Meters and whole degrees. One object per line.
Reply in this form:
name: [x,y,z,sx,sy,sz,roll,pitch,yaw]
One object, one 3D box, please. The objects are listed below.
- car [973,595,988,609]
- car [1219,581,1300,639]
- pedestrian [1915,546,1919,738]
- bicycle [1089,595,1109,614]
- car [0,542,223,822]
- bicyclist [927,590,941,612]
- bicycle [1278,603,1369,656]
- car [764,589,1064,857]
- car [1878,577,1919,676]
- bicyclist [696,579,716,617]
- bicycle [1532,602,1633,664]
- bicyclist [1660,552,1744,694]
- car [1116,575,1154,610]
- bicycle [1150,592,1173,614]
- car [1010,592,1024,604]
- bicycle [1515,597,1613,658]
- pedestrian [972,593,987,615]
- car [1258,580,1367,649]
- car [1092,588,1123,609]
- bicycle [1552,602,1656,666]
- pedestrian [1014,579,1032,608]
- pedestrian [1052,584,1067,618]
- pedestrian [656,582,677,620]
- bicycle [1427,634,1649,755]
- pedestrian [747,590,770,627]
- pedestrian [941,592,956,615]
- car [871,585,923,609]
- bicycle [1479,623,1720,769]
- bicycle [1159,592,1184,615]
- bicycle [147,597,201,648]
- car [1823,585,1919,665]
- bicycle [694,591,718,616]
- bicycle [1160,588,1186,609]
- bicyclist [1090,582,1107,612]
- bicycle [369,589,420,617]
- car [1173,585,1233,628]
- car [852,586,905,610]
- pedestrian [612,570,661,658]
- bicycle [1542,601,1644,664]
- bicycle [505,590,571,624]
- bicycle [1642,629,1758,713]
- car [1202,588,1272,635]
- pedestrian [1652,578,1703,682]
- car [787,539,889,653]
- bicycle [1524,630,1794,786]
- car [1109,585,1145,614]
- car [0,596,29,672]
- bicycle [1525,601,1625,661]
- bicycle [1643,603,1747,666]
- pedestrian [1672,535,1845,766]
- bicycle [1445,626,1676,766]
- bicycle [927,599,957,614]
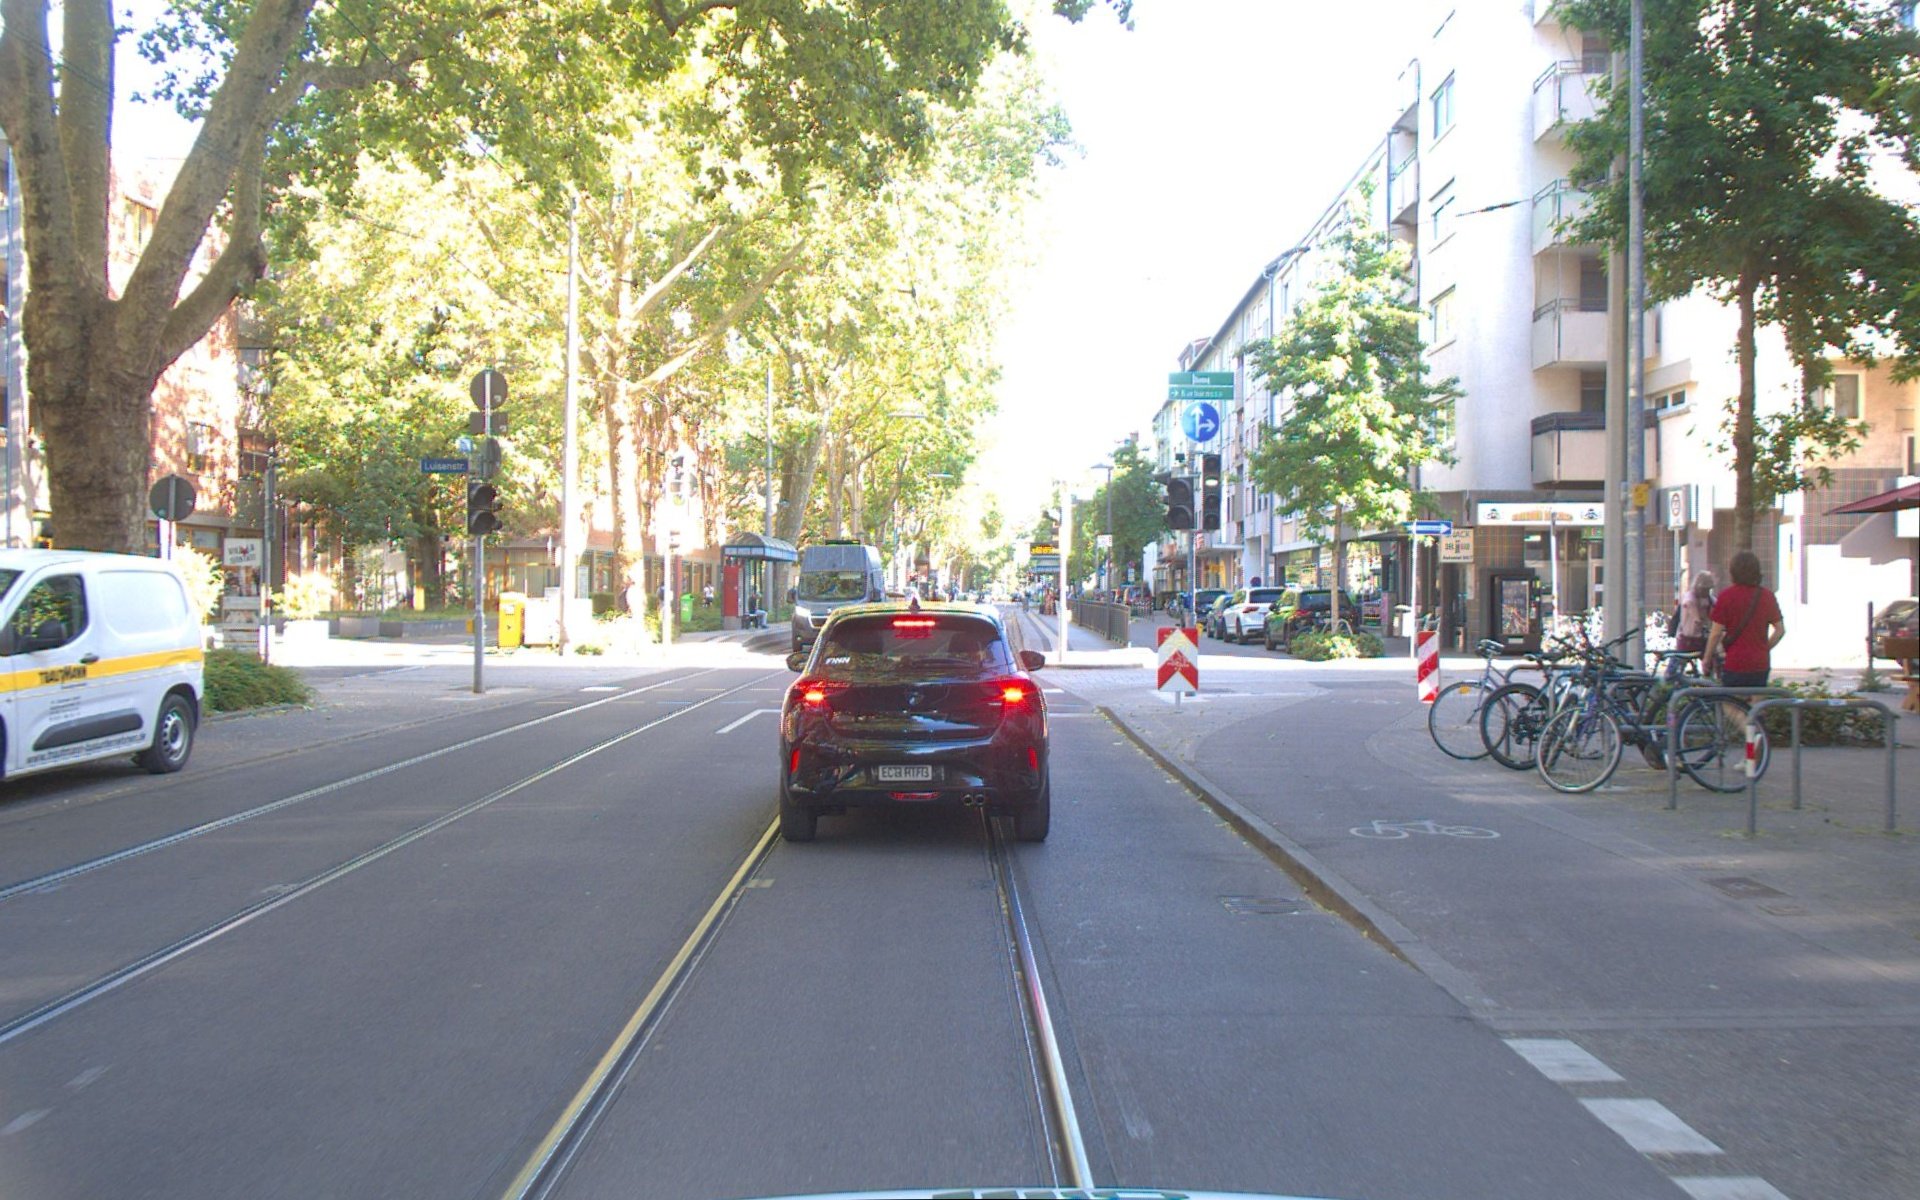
car: [2.495,0.252,203.267,1.709,1.571,4.000,1,0,0]
car: [8.978,0.289,49.869,1.762,1.634,4.416,1,0,2]
pedestrian: [9.391,0.399,15.254,0.578,1.815,0.995,1,0,0]
bicycle: [8.543,0.278,101.574,0.844,1.156,2.394,1,0,-5]
car: [-7.296,0.539,12.243,1.727,1.883,4.318,1,0,0]
bicyclist: [-2.143,0.066,136.637,1.141,1.779,0.957,1,0,-4]
bicycle: [8.677,0.689,39.509,2.081,1.208,0.681,1,0,10]
car: [-0.277,0.715,11.355,1.724,1.534,3.682,0,0,-1]
car: [17.867,0.477,27.523,4.165,1.620,1.965,1,-1,-5]
bicyclist: [-12.040,-0.099,78.460,0.759,1.780,0.997,1,0,-1]
bicycle: [12.671,0.666,33.691,1.875,1.229,0.511,0,0,-2]
bicyclist: [9.381,0.284,20.936,0.663,1.747,0.965,1,0,4]
car: [10.576,-0.433,100.109,1.952,1.986,4.000,1,0,1]
bicycle: [10.816,0.144,88.885,0.591,1.156,2.429,1,0,-9]
car: [7.552,-0.259,220.462,1.709,1.571,4.000,1,0,0]
bicycle: [12.713,0.572,34.817,1.875,1.229,0.511,1,-1,-2]
pedestrian: [1.543,0.323,133.228,1.141,1.779,0.957,1,0,-4]
car: [8.988,0.355,42.500,1.952,1.644,4.446,-1,0,2]
car: [10.610,-0.095,119.109,1.952,1.512,4.001,1,0,2]
bicycle: [12.693,0.673,32.624,1.875,1.228,0.511,0,1,-2]
pedestrian: [3.758,-0.387,98.835,0.737,1.739,0.760,1,-1,36]
pedestrian: [4.797,0.036,79.908,0.618,1.603,0.871,2,0,2]
pedestrian: [-13.334,0.040,75.120,0.720,1.701,0.861,1,0,2]
bicycle: [5.085,0.828,14.594,1.778,1.011,0.481,1,-1,-1]
pedestrian: [-6.575,0.267,54.023,0.691,1.189,0.659,-1,0,-2]
pedestrian: [-0.924,0.273,133.055,1.141,1.779,0.957,1,0,-4]
car: [-5.401,-0.248,141.899,4.300,1.884,1.998,1,0,-6]
bicycle: [5.125,0.764,13.271,1.780,1.119,0.480,1,-1,-7]
bicycle: [11.017,0.176,86.271,0.610,1.156,2.434,1,0,-9]
bicycle: [-18.455,0.511,38.860,0.530,1.103,1.537,1,2,0]
car: [19.944,0.477,32.962,4.489,1.503,1.872,0,2,2]
bicycle: [-12.054,0.163,78.522,0.766,1.130,2.595,1,0,-1]
bicycle: [11.771,-0.065,91.659,0.600,1.156,2.915,1,0,-9]
bicyclist: [8.521,-0.176,101.910,0.844,1.790,1.052,1,0,-5]
bicycle: [-23.245,0.133,67.990,1.907,1.092,0.762,1,0,-15]
car: [9.619,0.259,65.720,1.818,1.644,4.398,1,0,2]
car: [-6.451,-0.158,130.325,4.034,1.730,1.881,1,0,-6]
pedestrian: [-7.100,0.304,36.310,0.905,1.867,0.920,1,2,-2]
bicycle: [12.680,0.654,33.156,1.875,1.228,0.511,0,1,-2]
bicycle: [-16.043,0.265,62.859,2.292,1.186,0.682,2,0,2]
bicycle: [9.364,0.877,21.004,0.663,0.980,2.023,1,0,4]
car: [9.224,0.379,55.350,1.708,1.465,4.248,1,0,2]
pedestrian: [11.214,0.472,25.862,0.539,1.589,0.645,1,-1,6]
car: [-3.133,-0.088,43.796,2.070,2.786,6.116,-1,0,1]
bicycle: [5.155,0.788,12.245,1.778,1.119,0.525,0,-1,0]
car: [10.772,-0.031,106.867,1.952,1.829,4.000,1,0,1]
car: [-21.351,0.659,33.422,3.905,1.534,2.000,1,0,0]
bicycle: [12.730,0.636,34.247,1.875,1.229,0.511,0,0,-2]
bicycle: [14.779,0.686,33.276,1.875,1.228,0.511,1,1,-2]
pedestrian: [6.462,0.399,13.439,0.857,1.789,1.047,1,0,-2]
bicycle: [5.013,0.799,13.830,1.780,1.119,0.497,1,-1,-7]
bicycle: [-1.499,0.540,136.681,2.431,1.262,0.957,1,0,-4]
